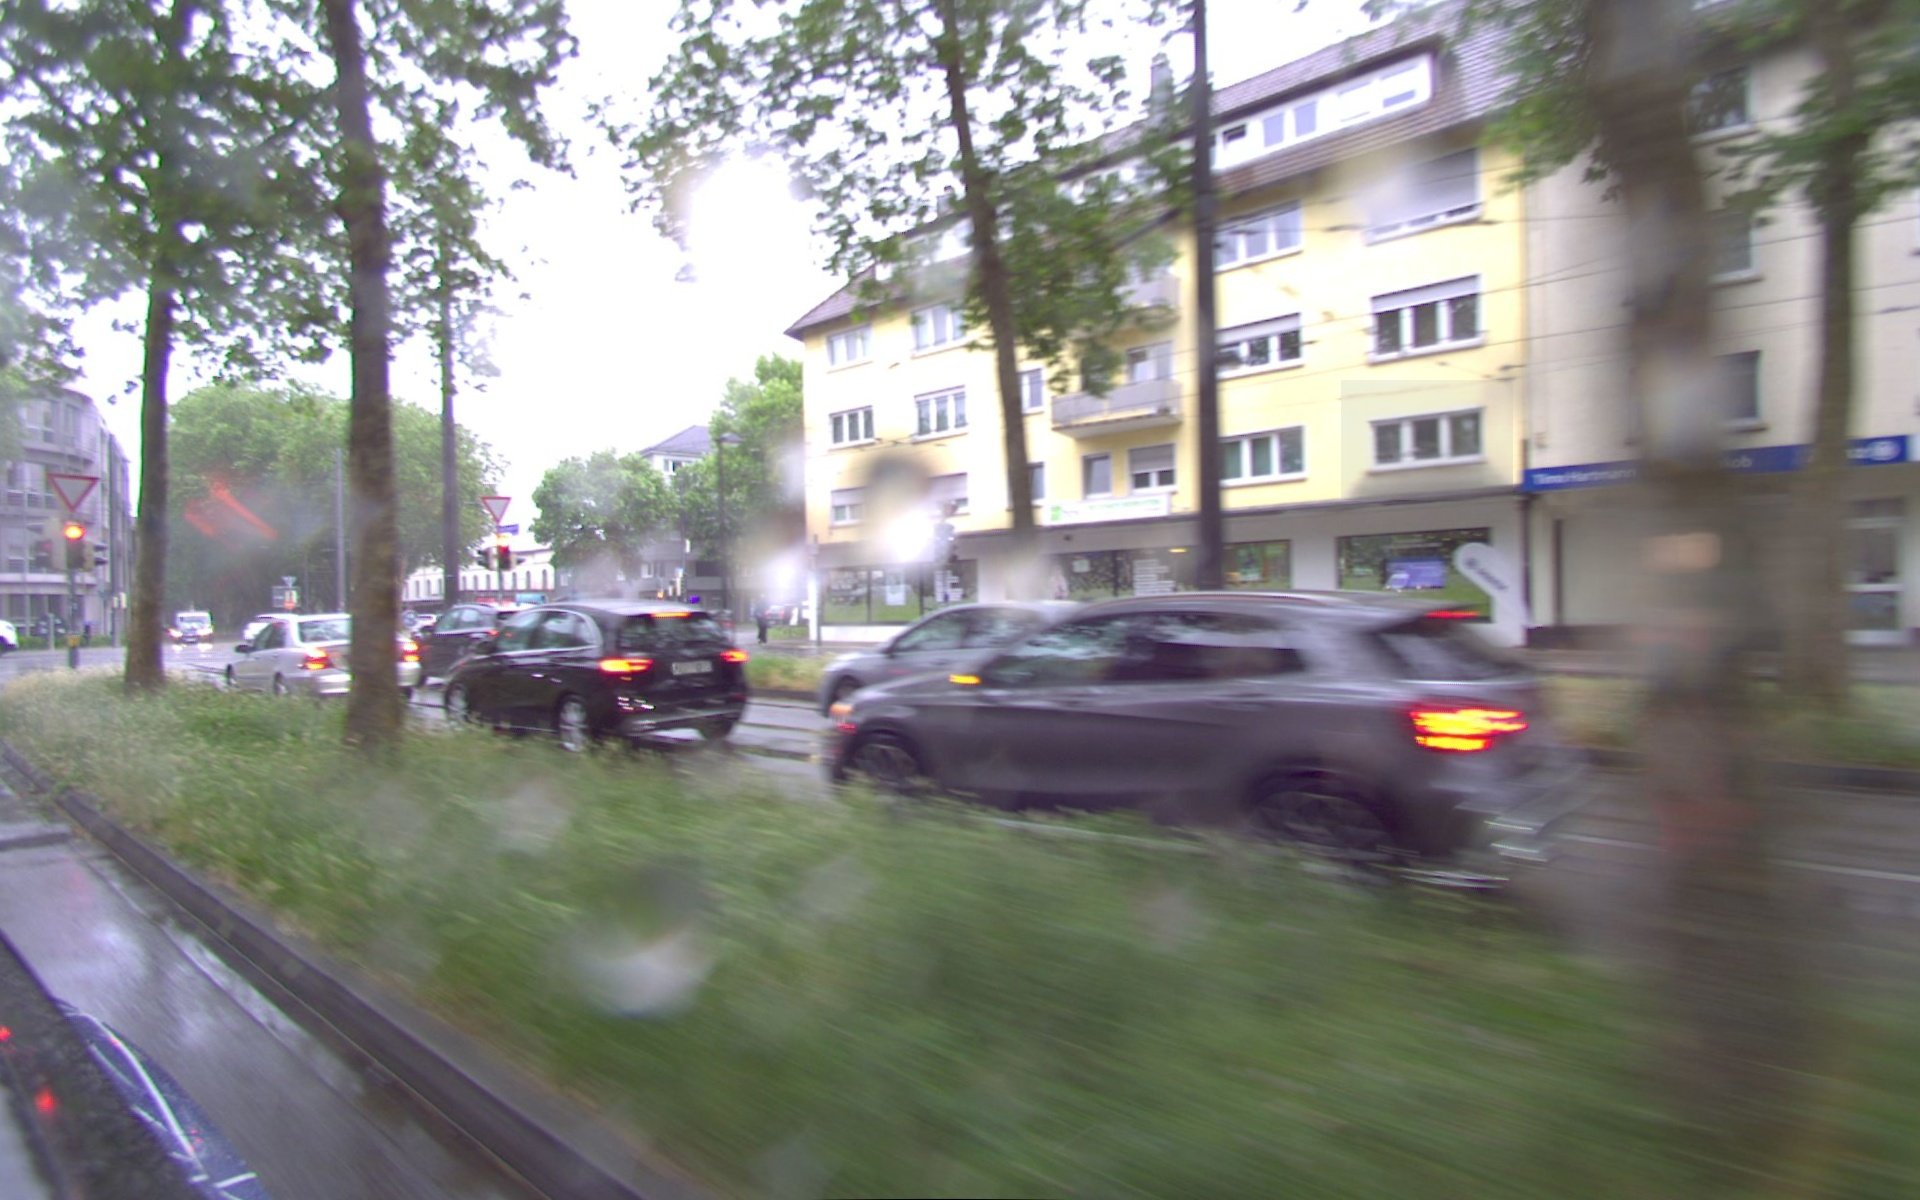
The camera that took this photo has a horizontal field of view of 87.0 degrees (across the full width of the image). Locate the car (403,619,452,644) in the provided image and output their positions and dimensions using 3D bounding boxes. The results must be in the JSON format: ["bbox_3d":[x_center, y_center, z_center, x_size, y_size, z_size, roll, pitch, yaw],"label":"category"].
[{"bbox_3d":[-35.761,2.091,68.019,1.783,1.548,4.200,-1,0,-11],"label":"car"}]

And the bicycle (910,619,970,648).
[{"bbox_3d":[-0.659,1.059,32.184,2.046,0.903,0.605,-1,-1,42],"label":"bicycle"}]

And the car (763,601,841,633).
[{"bbox_3d":[-9.126,0.952,58.588,4.126,1.722,1.810,-1,0,-42],"label":"car"}]

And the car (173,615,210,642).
[{"bbox_3d":[-54.111,1.982,71.349,1.972,1.785,4.009,0,-1,-36],"label":"car"}]

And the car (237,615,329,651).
[{"bbox_3d":[-33.413,1.590,50.067,1.783,1.599,4.072,-1,0,1],"label":"car"}]

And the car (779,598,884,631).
[{"bbox_3d":[-6.521,0.719,51.398,4.951,1.485,1.987,-2,-1,20],"label":"car"}]

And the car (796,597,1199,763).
[{"bbox_3d":[0.256,0.740,10.776,4.129,1.408,1.723,-2,0,42],"label":"car"}]

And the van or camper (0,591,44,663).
[{"bbox_3d":[-34.914,0.966,33.969,2.163,2.489,5.939,-1,0,16],"label":"van or camper"}]

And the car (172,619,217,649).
[{"bbox_3d":[-49.877,2.194,66.028,1.773,1.785,4.012,-3,1,-29],"label":"car"}]

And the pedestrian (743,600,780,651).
[{"bbox_3d":[-6.806,0.871,34.676,1.000,1.690,0.816,0,-1,-36],"label":"pedestrian"}]

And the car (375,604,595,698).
[{"bbox_3d":[-8.753,0.891,18.522,4.277,1.513,1.856,-2,-1,37],"label":"car"}]

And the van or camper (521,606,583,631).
[{"bbox_3d":[-35.360,1.593,87.775,4.580,2.091,2.004,1,-1,-39],"label":"van or camper"}]

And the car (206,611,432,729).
[{"bbox_3d":[-9.811,0.970,15.333,4.499,1.500,1.716,-2,0,42],"label":"car"}]

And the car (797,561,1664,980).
[{"bbox_3d":[1.173,0.647,5.733,4.430,1.491,1.723,-2,0,42],"label":"car"}]

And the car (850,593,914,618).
[{"bbox_3d":[-5.200,0.381,67.592,3.766,1.470,1.894,3,-3,-30],"label":"car"}]

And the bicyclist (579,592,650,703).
[{"bbox_3d":[-5.553,0.731,16.270,0.889,1.729,0.705,0,0,38],"label":"bicyclist"}]

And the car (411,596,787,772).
[{"bbox_3d":[-4.076,0.782,10.989,4.638,1.496,1.837,-2,0,42],"label":"car"}]

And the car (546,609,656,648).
[{"bbox_3d":[-16.748,1.284,47.455,1.910,1.659,4.623,0,0,36],"label":"car"}]
